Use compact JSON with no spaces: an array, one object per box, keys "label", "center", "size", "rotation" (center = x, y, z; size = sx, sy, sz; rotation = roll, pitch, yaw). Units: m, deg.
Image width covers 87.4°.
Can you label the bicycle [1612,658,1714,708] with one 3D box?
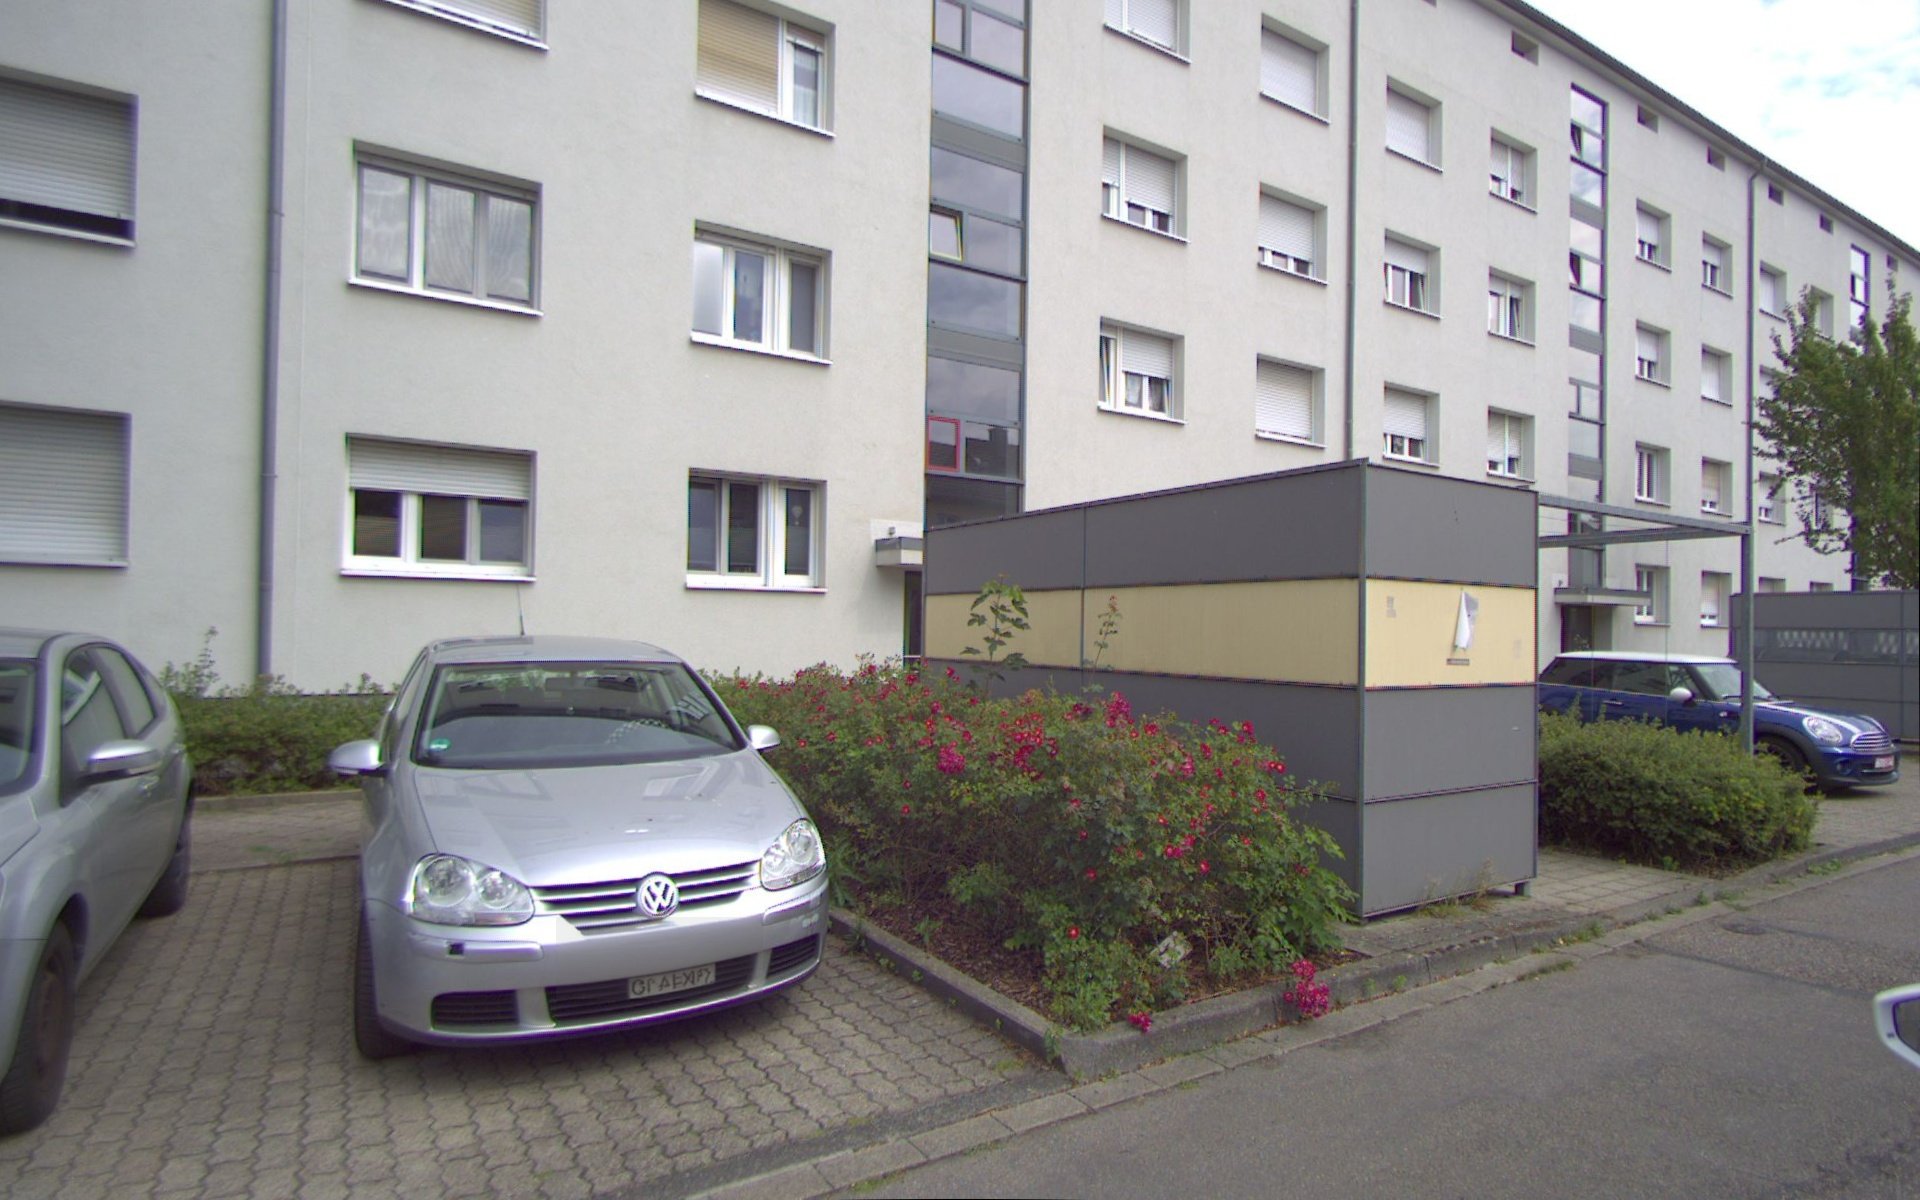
[{"label":"bicycle","center":[15.542,1.817,22.236],"size":[1.775,1.038,0.479],"rotation":[0,-1,18]}]

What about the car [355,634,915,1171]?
[{"label":"car","center":[-1.960,0.929,4.997],"size":[1.762,1.483,4.031],"rotation":[2,-3,-31]}]

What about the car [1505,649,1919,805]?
[{"label":"car","center":[8.605,1.337,11.776],"size":[1.632,1.480,3.621],"rotation":[2,-3,-28]}]

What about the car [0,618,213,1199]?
[{"label":"car","center":[-4.076,0.845,3.650],"size":[1.762,1.525,4.031],"rotation":[2,-3,-31]}]
